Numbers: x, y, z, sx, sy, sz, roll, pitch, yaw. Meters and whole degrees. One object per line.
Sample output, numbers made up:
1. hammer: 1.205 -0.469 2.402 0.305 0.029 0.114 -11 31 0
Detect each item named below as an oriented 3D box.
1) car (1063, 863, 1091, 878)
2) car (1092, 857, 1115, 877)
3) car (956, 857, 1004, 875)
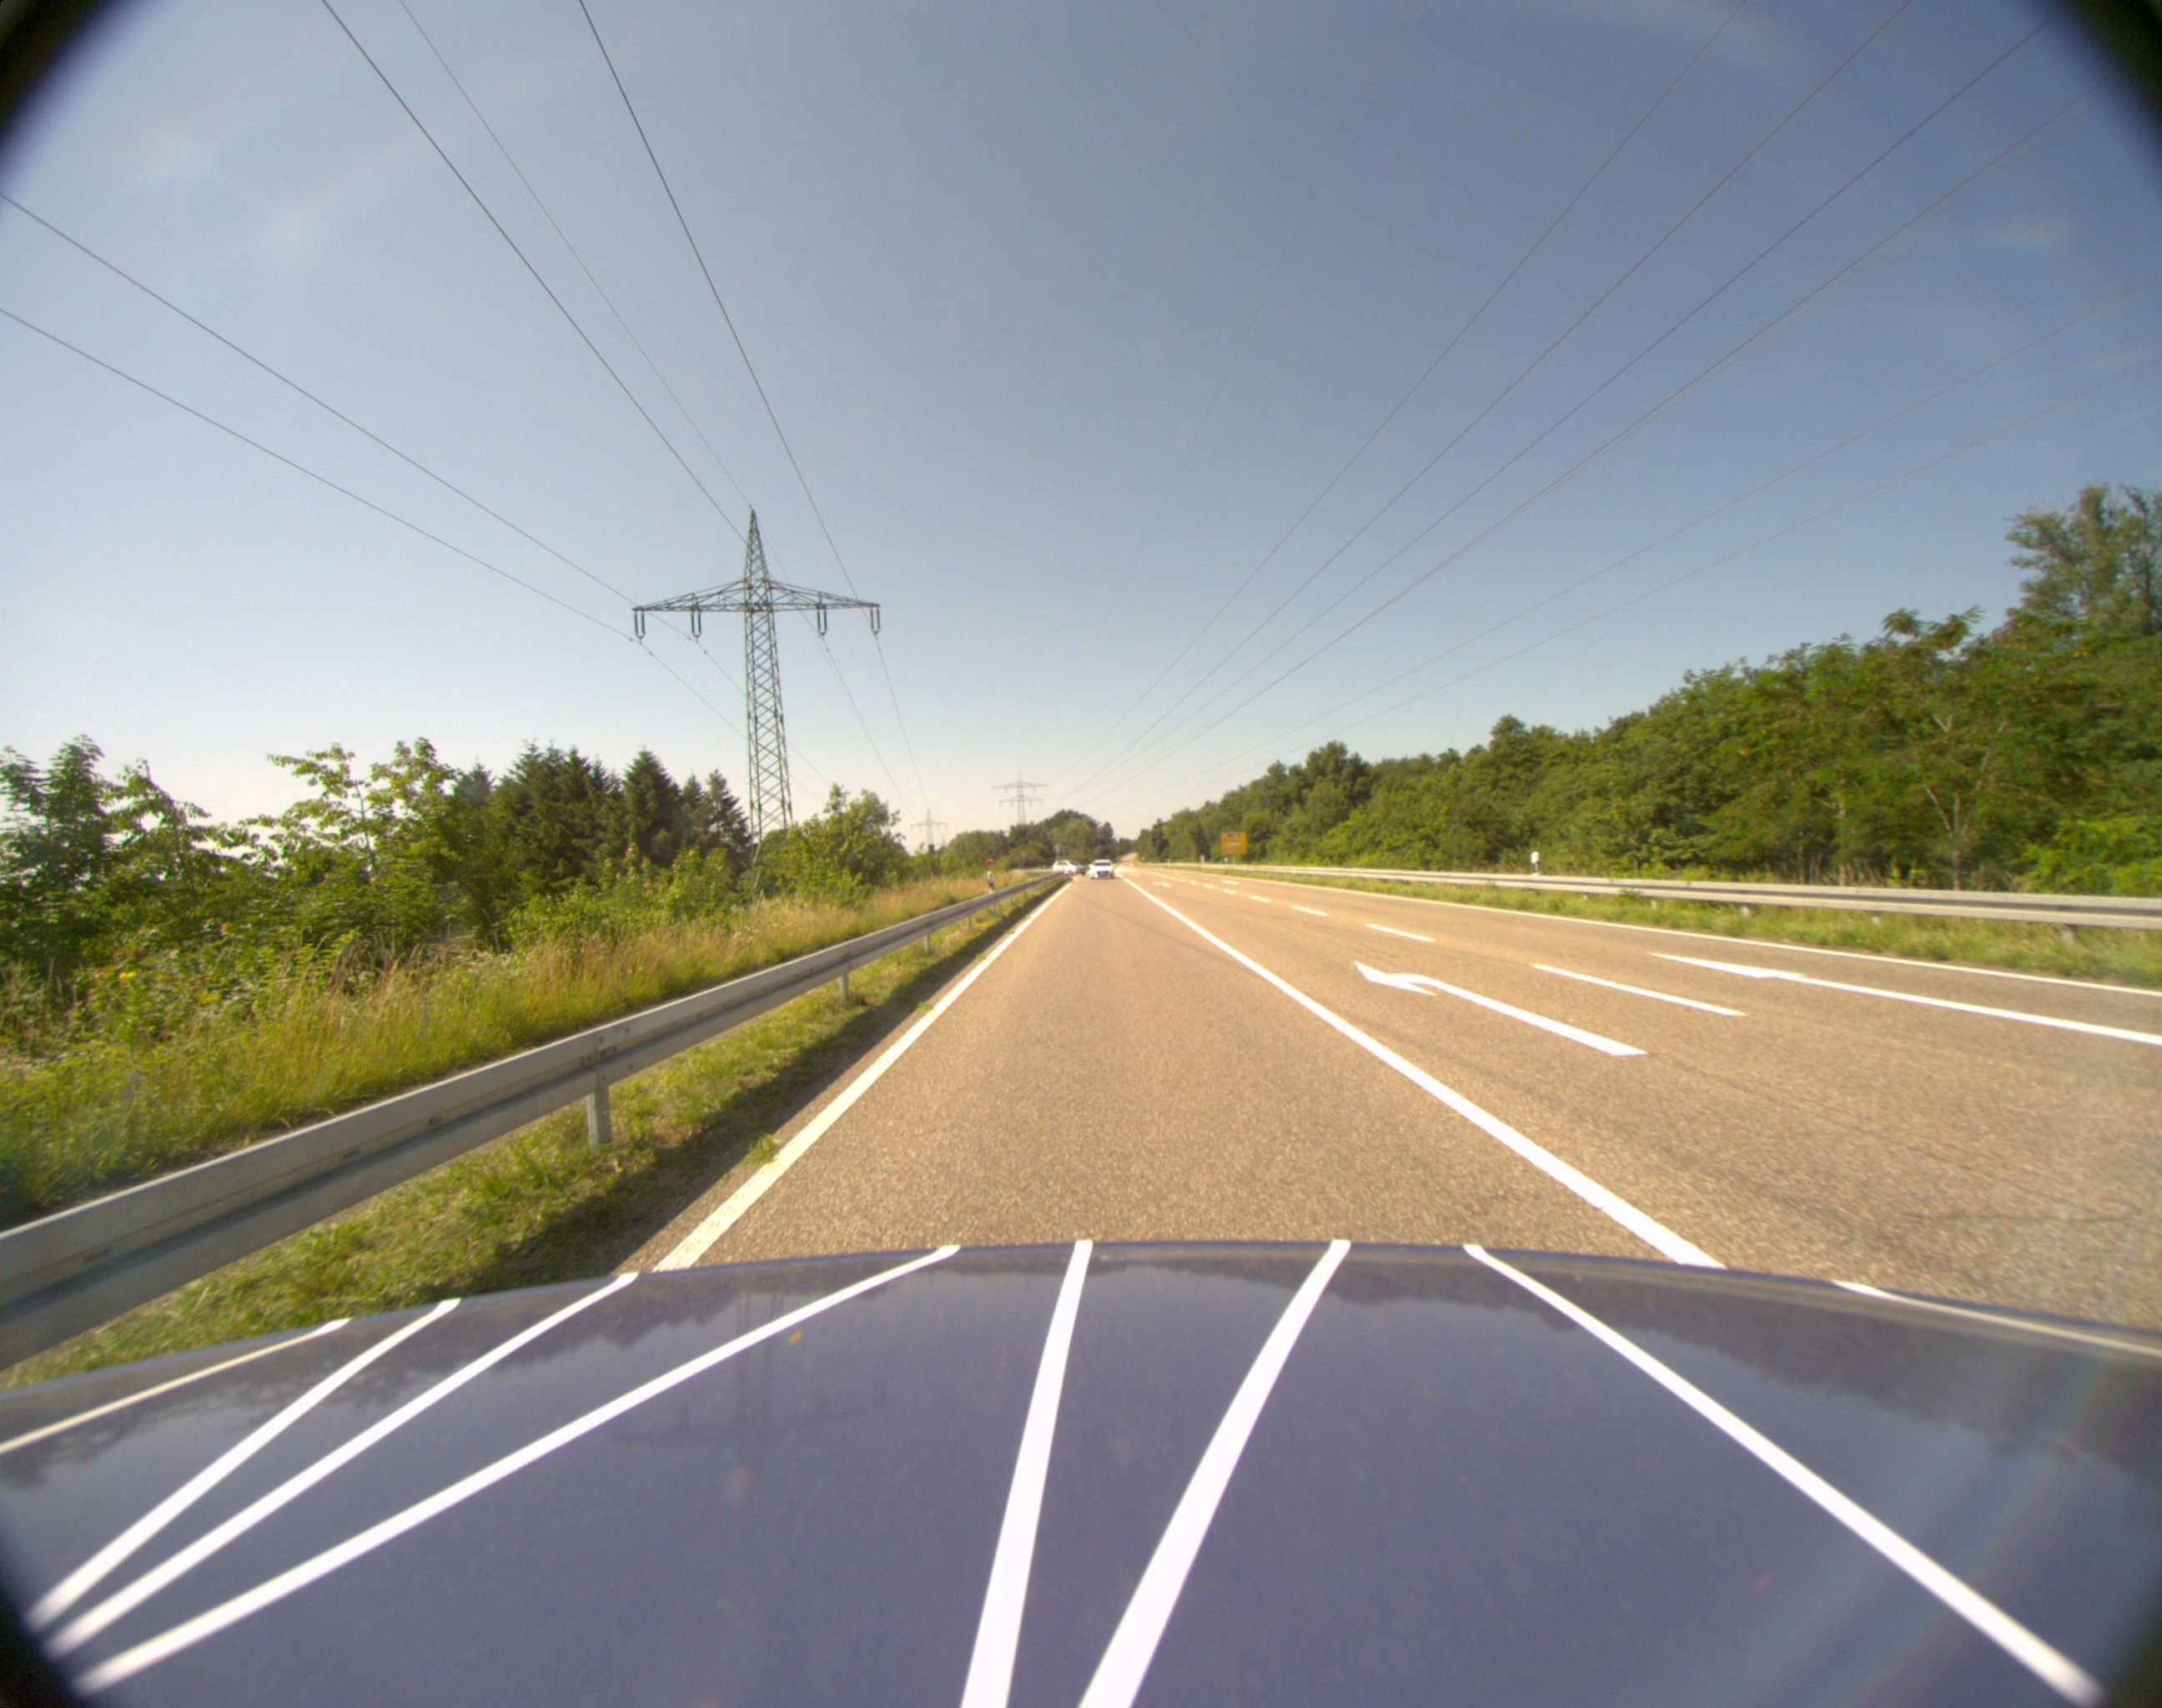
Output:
1. car: -0.461 1.645 78.313 1.552 1.460 3.654 -2 0 -22
2. car: 1.792 0.995 60.768 1.683 1.472 4.473 -1 0 0
3. car: -11.146 1.309 83.894 4.829 1.892 1.798 -1 0 13
